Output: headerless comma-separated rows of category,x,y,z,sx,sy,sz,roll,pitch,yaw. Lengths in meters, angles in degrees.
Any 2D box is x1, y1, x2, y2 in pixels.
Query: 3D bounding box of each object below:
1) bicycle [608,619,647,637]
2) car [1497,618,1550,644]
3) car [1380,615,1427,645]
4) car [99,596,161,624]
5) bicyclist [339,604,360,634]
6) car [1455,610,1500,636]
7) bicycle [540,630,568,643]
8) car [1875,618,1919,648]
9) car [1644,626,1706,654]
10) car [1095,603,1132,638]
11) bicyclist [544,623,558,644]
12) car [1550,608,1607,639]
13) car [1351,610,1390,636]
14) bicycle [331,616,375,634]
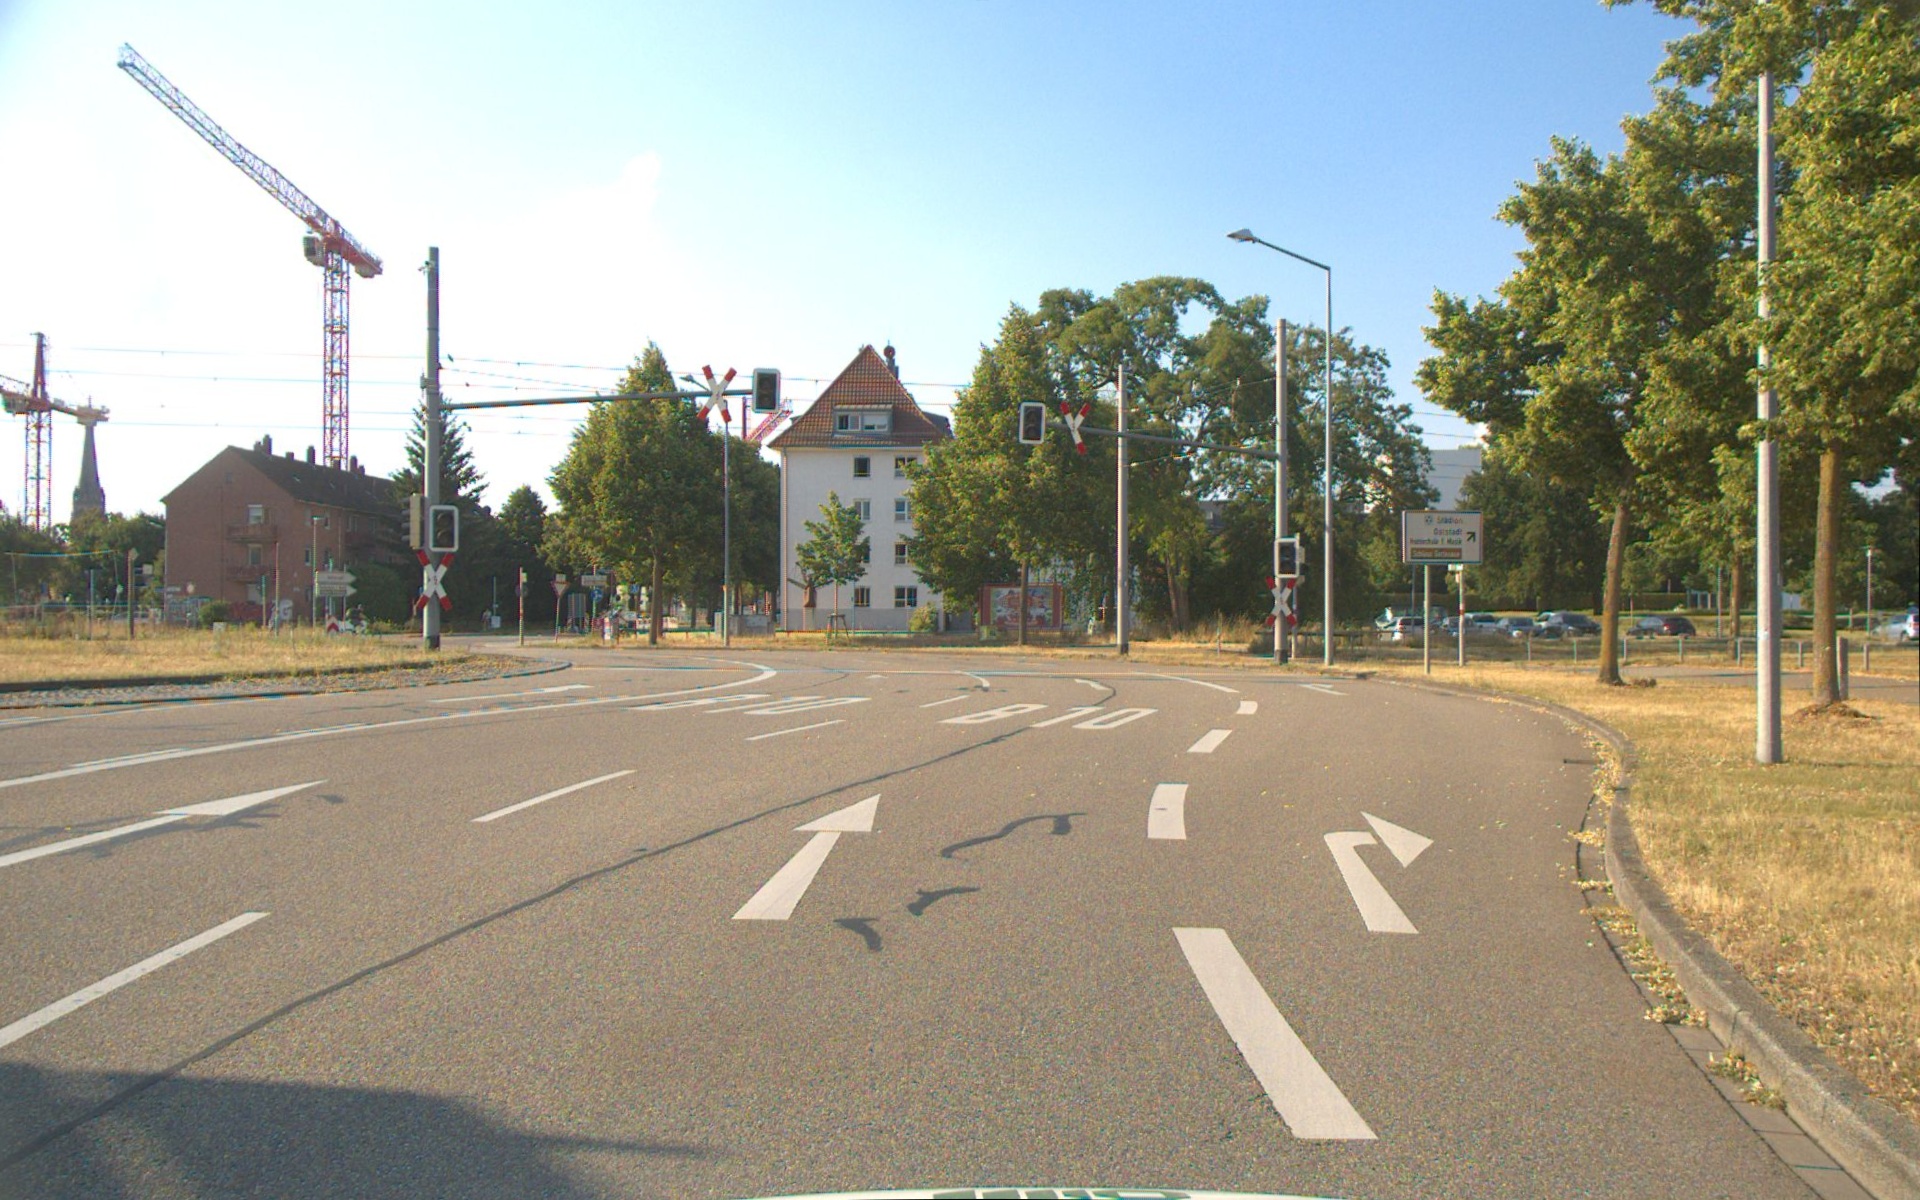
bicycle,-17.099,1.442,85.082,1.965,0.934,0.426,0,0,-29
car,27.325,1.487,80.336,1.567,1.242,3.971,0,-1,5
car,21.615,1.472,80.767,1.567,1.426,3.971,0,-1,5
car,-61.246,0.755,122.115,3.734,2.049,1.670,0,-1,-5
bicyclist,-29.150,0.913,78.936,0.887,1.421,0.521,0,0,-29
car,28.745,1.266,91.949,1.567,1.426,3.971,0,-1,5
bicycle,-31.516,2.844,128.269,2.054,0.980,0.599,0,-1,14
car,46.232,1.568,79.970,1.784,1.427,4.000,0,-1,1
car,34.412,1.904,79.664,1.567,1.333,3.971,0,-1,5
car,7.471,1.023,80.265,1.733,1.646,3.971,0,-1,5
bicyclist,-31.722,2.608,128.290,0.872,1.589,0.660,0,-1,13
car,29.828,1.128,79.859,1.567,1.426,3.971,0,-1,5
car,22.975,1.300,92.644,1.567,1.426,3.971,0,-1,5
bicycle,-28.985,1.169,78.997,1.965,0.839,0.426,0,0,-29
